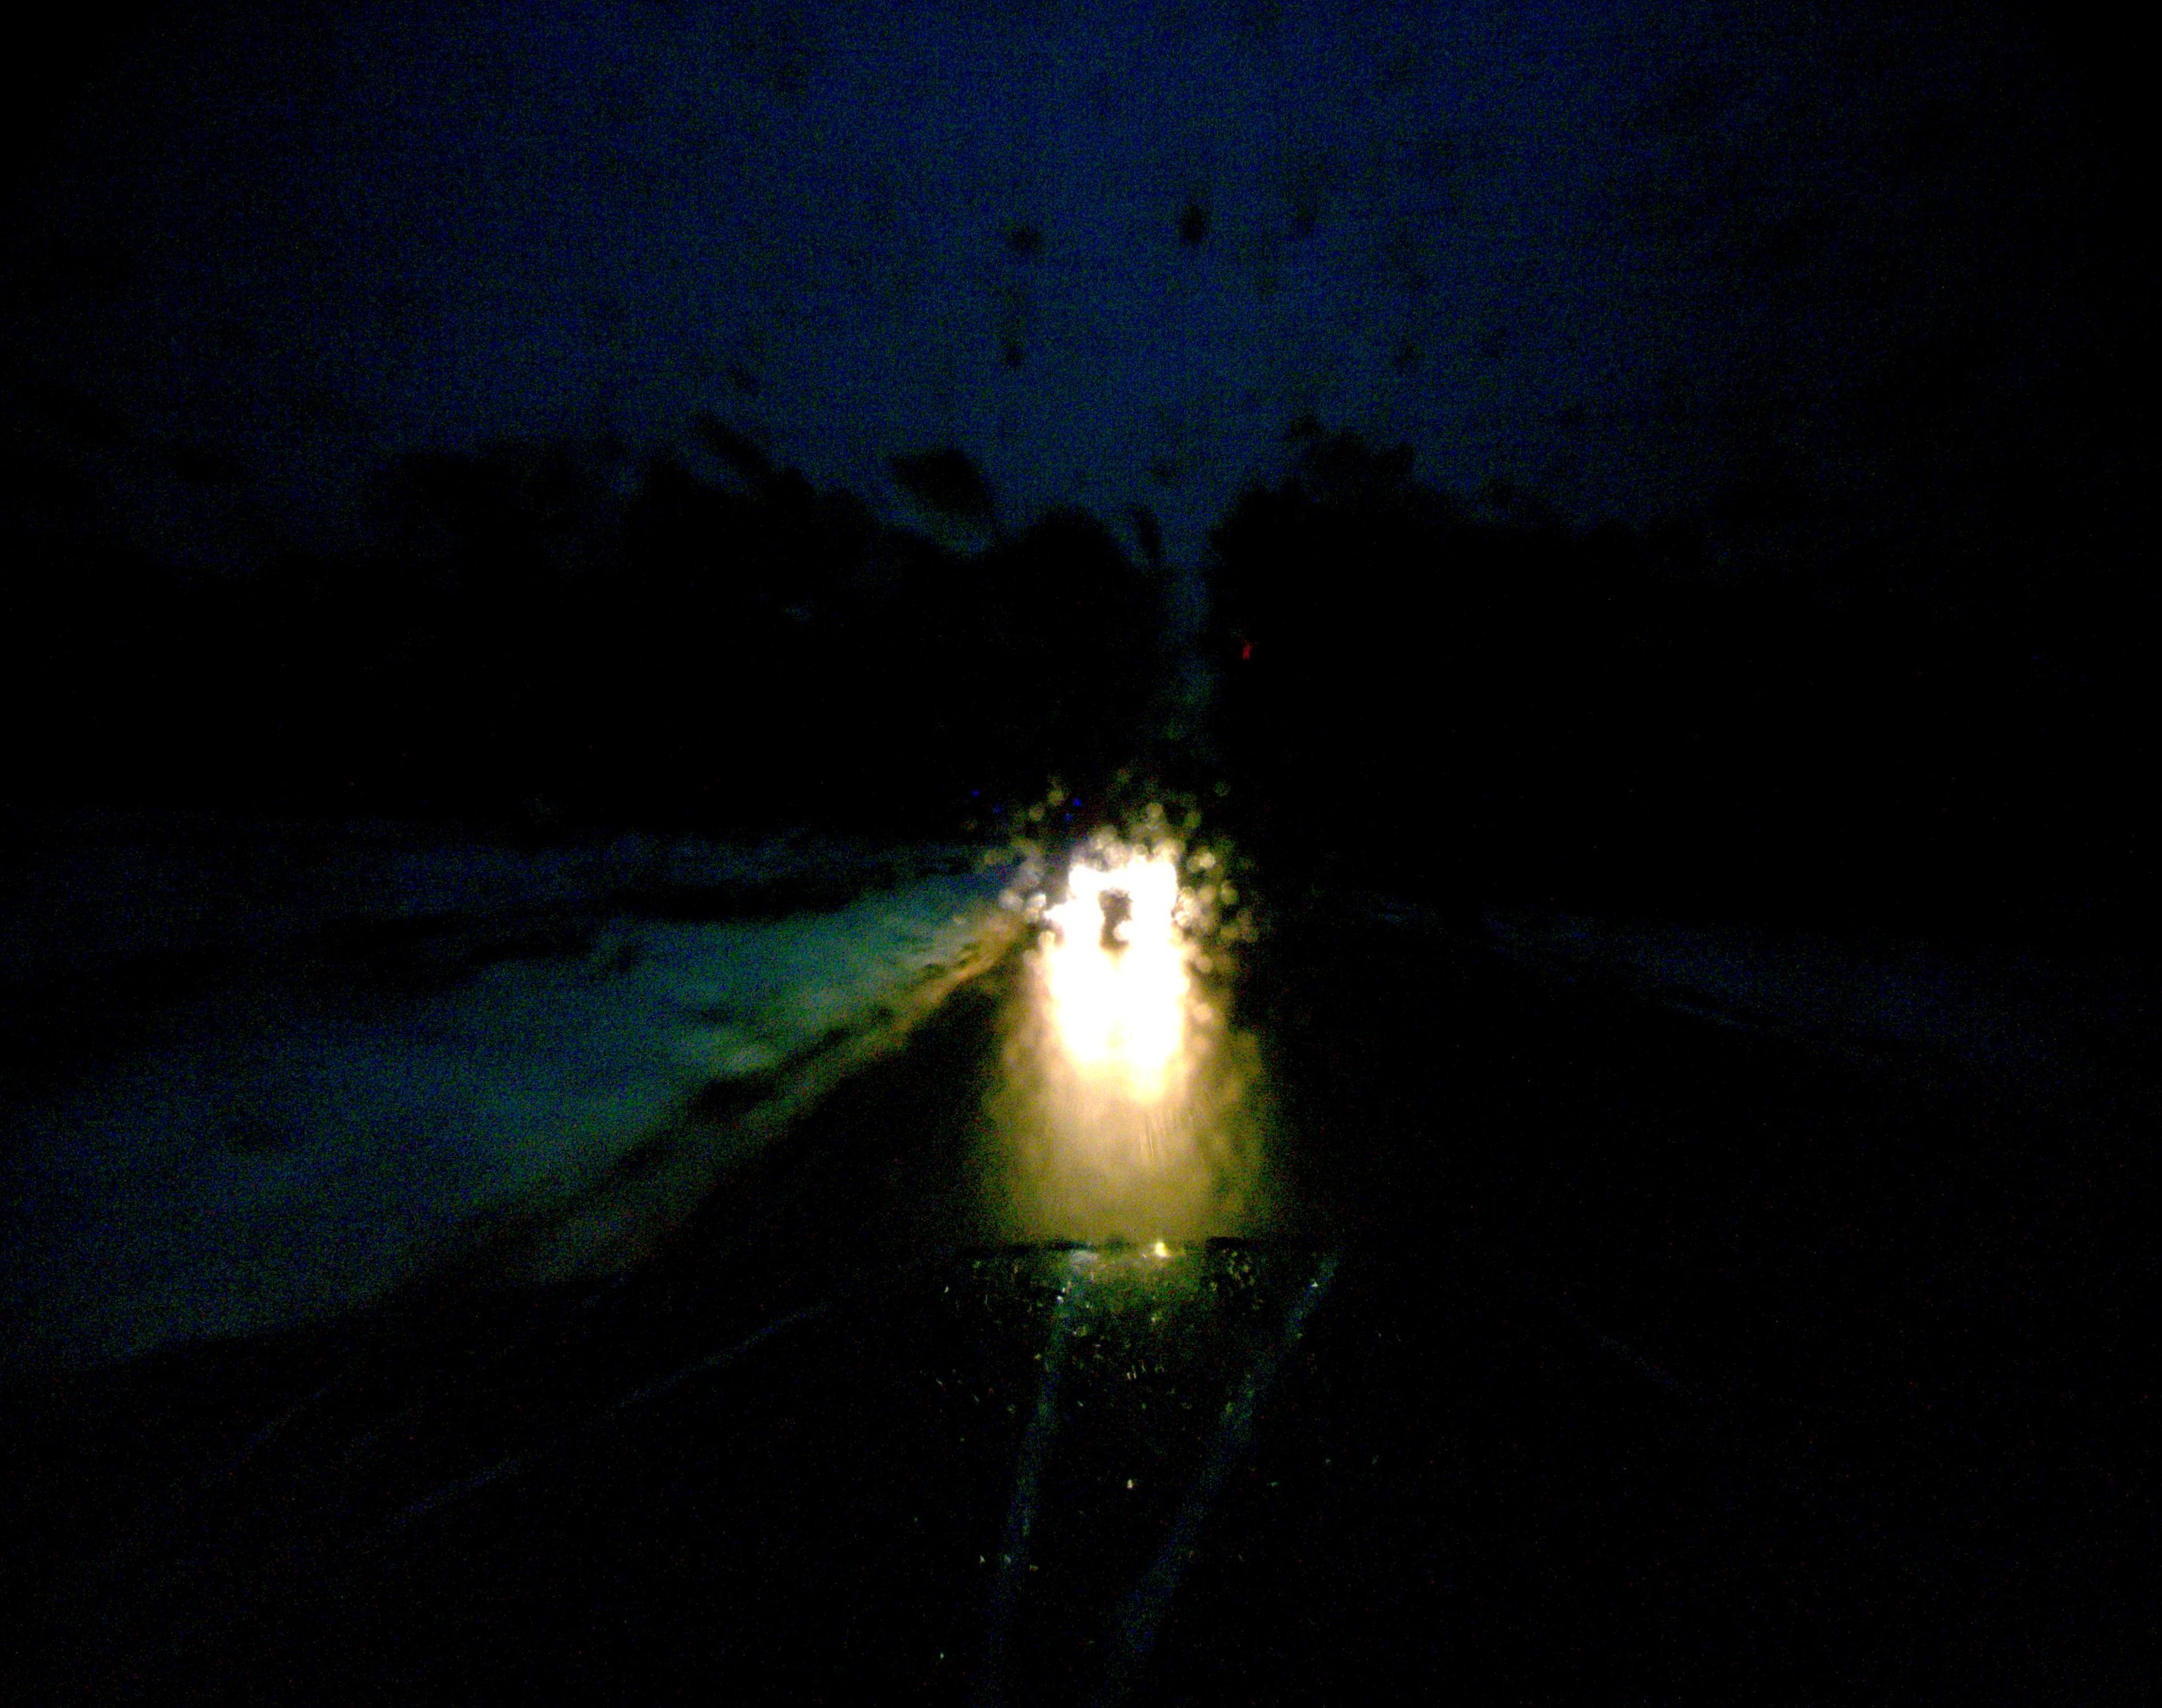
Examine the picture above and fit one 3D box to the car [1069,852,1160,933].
[{"bbox_3d":[0.783,0.723,16.133,1.649,1.446,3.681,-2,1,5],"label":"car"}]
